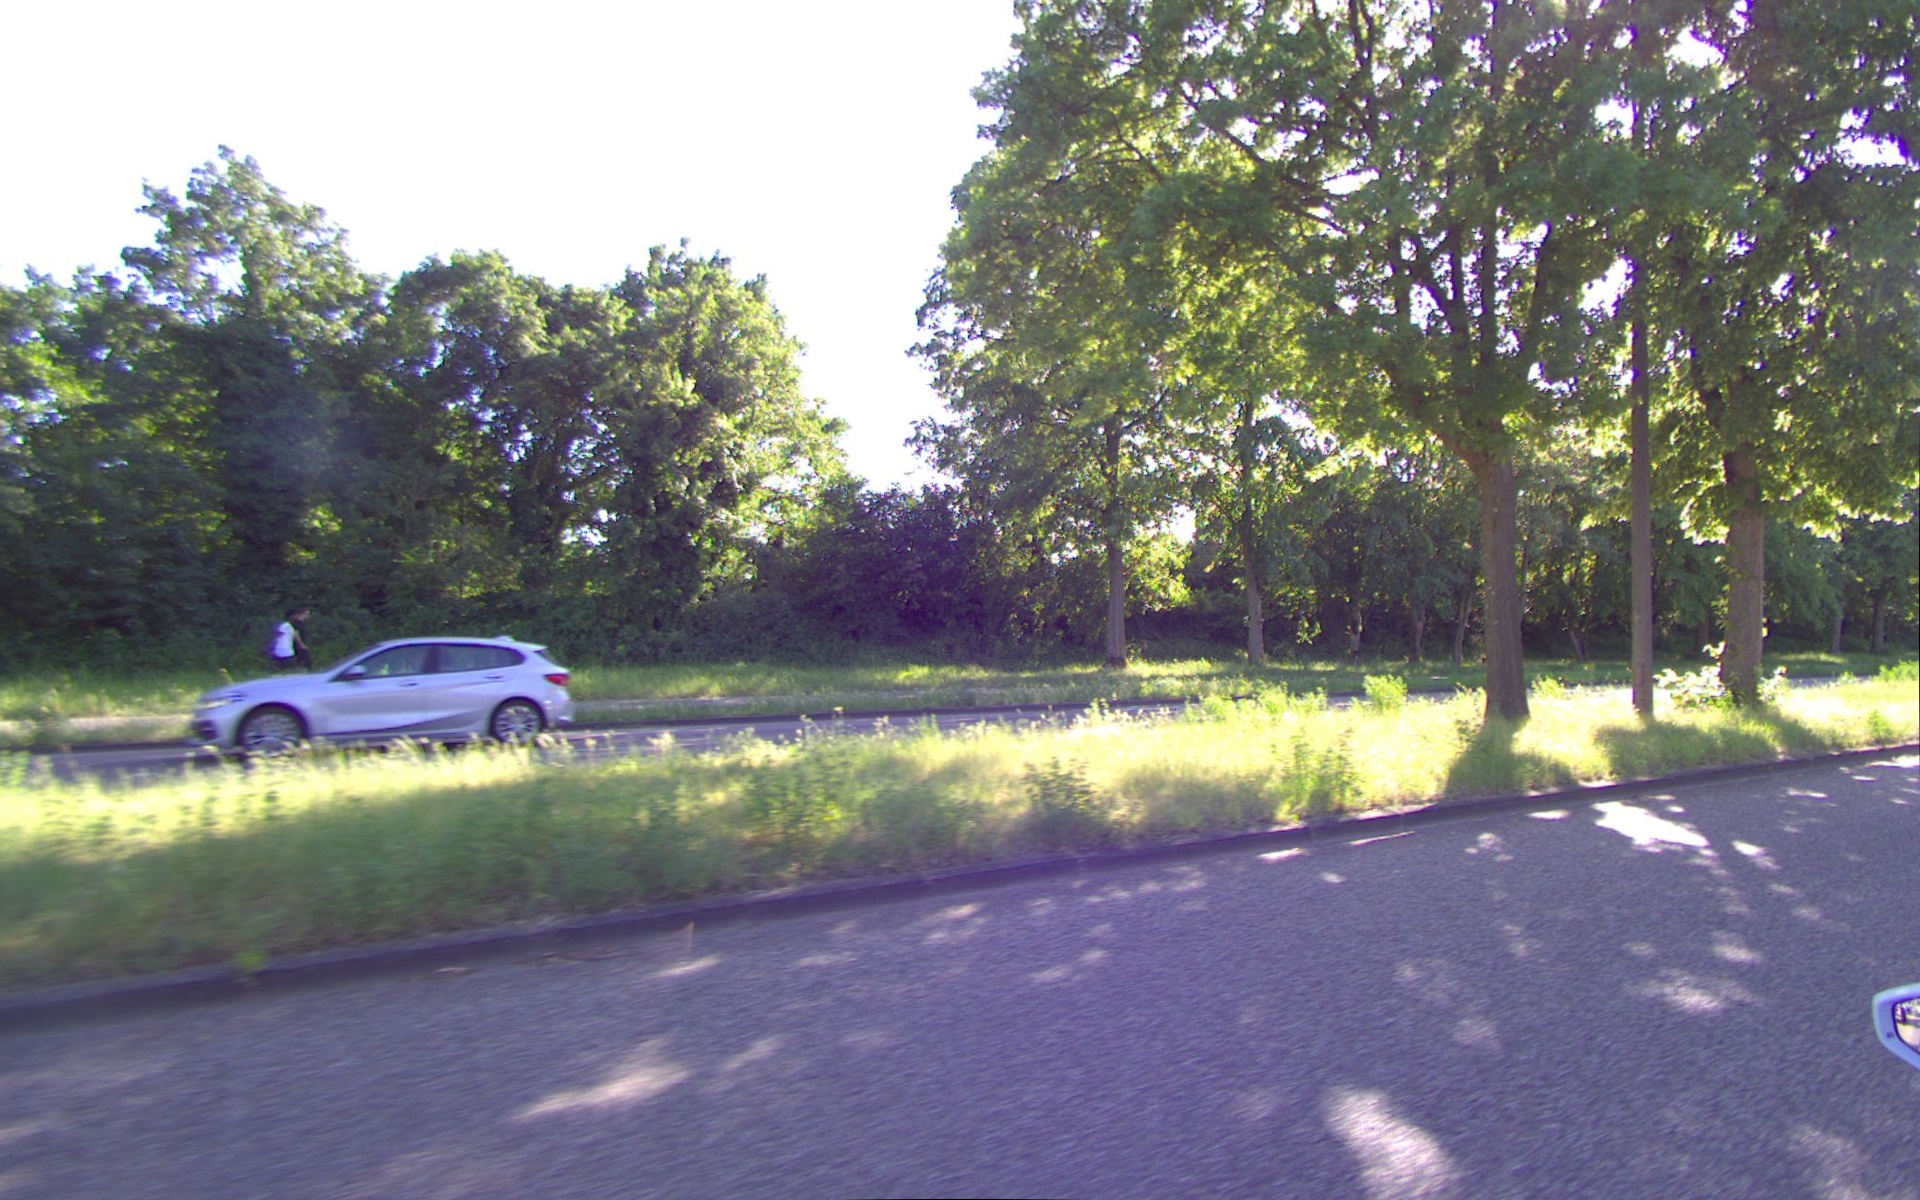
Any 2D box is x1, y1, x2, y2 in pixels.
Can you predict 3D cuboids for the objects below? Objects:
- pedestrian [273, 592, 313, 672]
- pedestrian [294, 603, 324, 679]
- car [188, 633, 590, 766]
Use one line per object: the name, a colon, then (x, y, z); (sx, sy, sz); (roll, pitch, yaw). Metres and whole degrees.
pedestrian: (-14.406, 0.681, 21.702); (0.673, 1.681, 0.677); (2, 0, -35)
pedestrian: (-14.836, 0.924, 22.893); (0.535, 1.681, 0.556); (2, 0, -34)
car: (-7.227, 1.197, 13.117); (4.295, 1.475, 1.718); (1, -4, -30)
